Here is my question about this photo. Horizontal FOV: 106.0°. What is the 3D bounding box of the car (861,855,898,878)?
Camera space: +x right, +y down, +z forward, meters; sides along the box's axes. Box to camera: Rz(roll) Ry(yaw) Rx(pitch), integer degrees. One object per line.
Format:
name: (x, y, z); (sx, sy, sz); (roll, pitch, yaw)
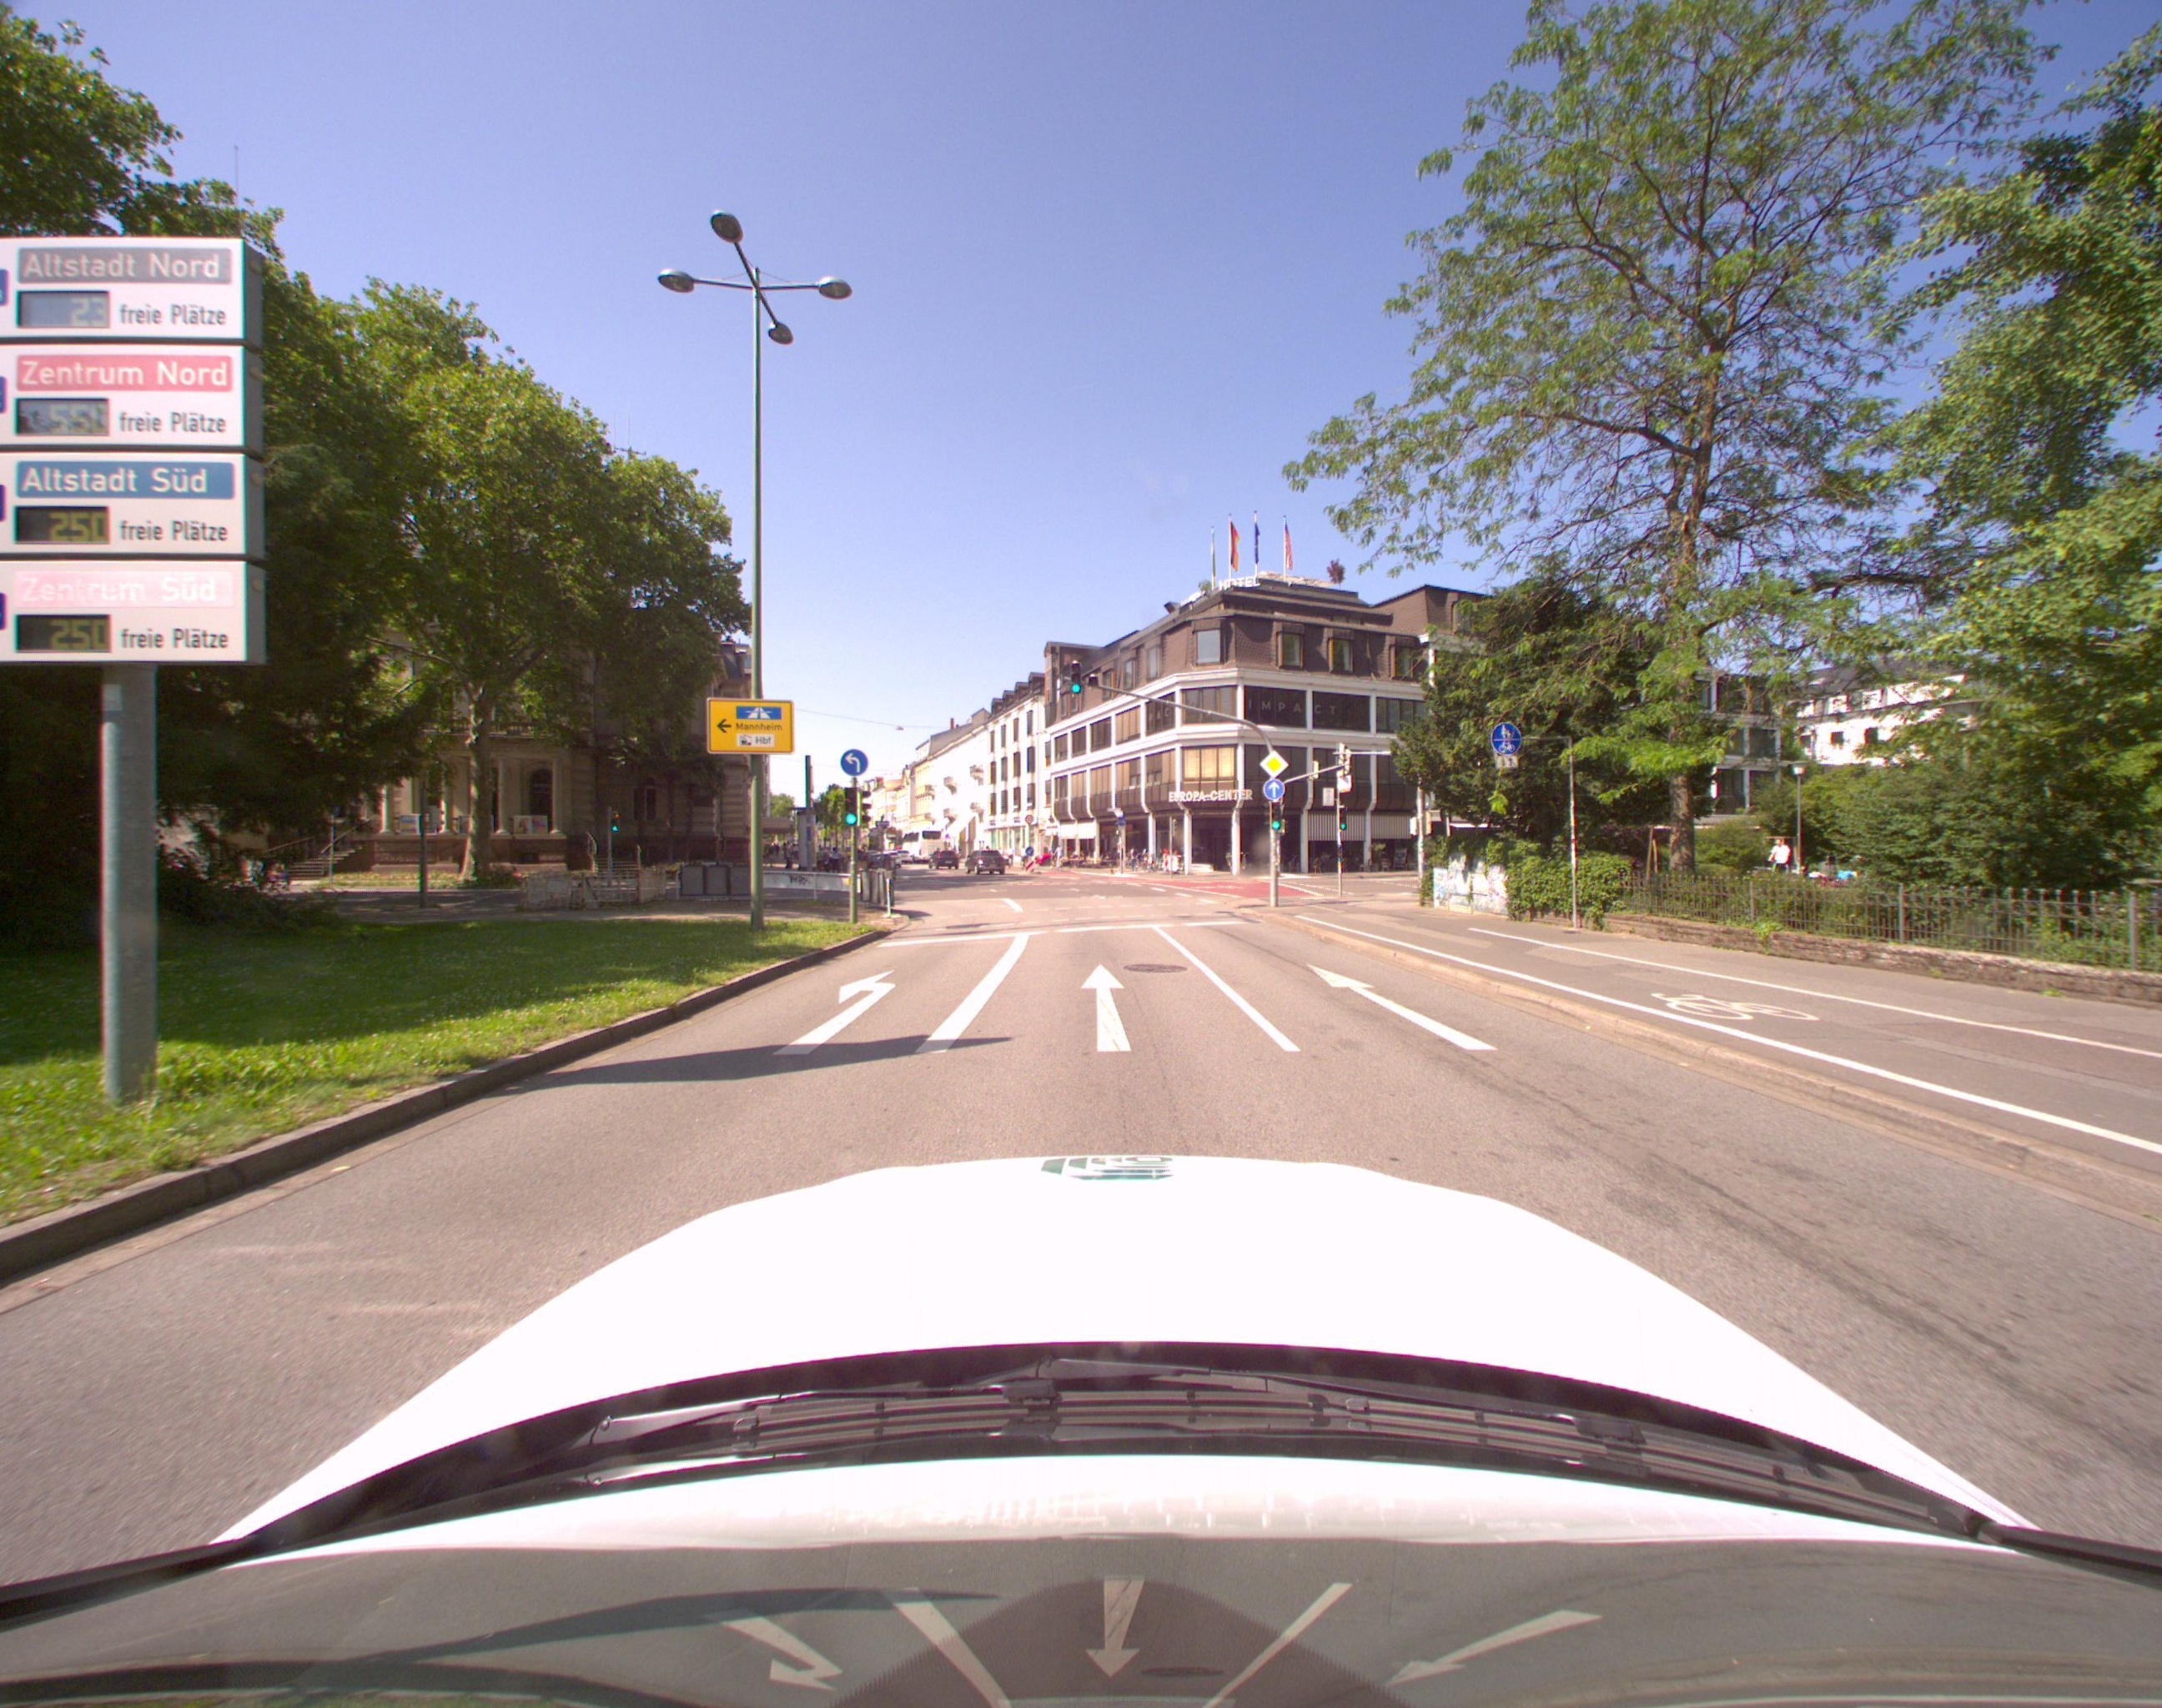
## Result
car: (-13.138, 0.795, 52.998); (1.943, 1.354, 4.222); (-1, 1, -19)

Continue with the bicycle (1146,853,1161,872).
bicycle: (4.547, 0.504, 51.112); (0.277, 1.120, 2.233); (-1, 1, -13)

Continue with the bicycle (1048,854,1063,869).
bicycle: (-1.868, 0.520, 59.210); (0.621, 1.099, 2.340); (0, 0, -15)

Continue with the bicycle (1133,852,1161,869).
bicycle: (4.446, 0.427, 54.668); (2.252, 1.097, 0.275); (-1, 1, -35)

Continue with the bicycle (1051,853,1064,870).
bicycle: (-1.617, 0.530, 56.278); (0.595, 1.120, 1.793); (-1, 1, -13)

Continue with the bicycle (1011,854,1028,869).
bicycle: (-4.673, 0.555, 62.072); (0.623, 1.099, 2.335); (0, 0, -22)

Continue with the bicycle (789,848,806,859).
bicycle: (-37.554, -0.061, 107.998); (2.077, 1.288, 0.364); (2, -1, -28)

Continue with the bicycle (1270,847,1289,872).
bicycle: (11.655, 0.304, 47.833); (0.524, 1.422, 1.980); (0, 2, 31)

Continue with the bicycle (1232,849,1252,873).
bicycle: (9.246, 0.406, 46.661); (0.524, 1.316, 1.871); (0, 2, 31)

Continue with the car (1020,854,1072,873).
car: (-2.976, 0.777, 69.219); (4.058, 1.495, 1.829); (-1, -2, -20)

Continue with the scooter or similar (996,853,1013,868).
scooter or similar: (-6.131, 0.499, 65.391); (0.966, 1.135, 1.574); (0, 0, -24)

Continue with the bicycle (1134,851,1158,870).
bicycle: (4.270, 0.434, 53.229); (1.548, 1.207, 0.276); (0, 0, -15)

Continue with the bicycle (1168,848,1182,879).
bicycle: (5.612, 0.563, 48.431); (0.373, 1.484, 1.061); (-2, -39, 22)

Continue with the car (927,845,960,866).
car: (-10.734, 0.141, 63.529); (1.839, 1.527, 3.973); (-2, 0, -19)

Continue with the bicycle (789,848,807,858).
bicycle: (-38.025, -0.098, 109.360); (2.081, 1.219, 0.752); (2, -1, -37)

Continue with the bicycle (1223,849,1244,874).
bicycle: (8.768, 0.420, 46.872); (0.524, 1.316, 1.980); (0, 2, 31)

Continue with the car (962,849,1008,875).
car: (-5.993, 0.500, 50.452); (1.841, 1.527, 3.970); (0, 0, -23)

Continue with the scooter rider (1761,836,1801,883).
scooter rider: (25.660, 0.204, 29.868); (0.708, 1.672, 0.820); (-1, -1, -14)

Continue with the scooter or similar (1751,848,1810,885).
scooter or similar: (25.631, 0.450, 29.847); (1.693, 1.298, 0.817); (-1, -1, -15)

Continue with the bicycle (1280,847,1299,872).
bicycle: (12.172, 0.302, 47.552); (0.524, 1.422, 1.980); (0, 2, 31)

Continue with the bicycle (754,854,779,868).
bicycle: (-24.841, 0.535, 64.268); (2.004, 1.062, 0.493); (0, 0, 18)

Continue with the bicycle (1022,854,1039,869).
bicycle: (-4.030, 0.580, 64.385); (0.623, 1.099, 2.335); (0, 0, -22)

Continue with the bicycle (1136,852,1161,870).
bicycle: (4.393, 0.433, 52.884); (1.573, 1.120, 0.276); (-2, 1, -15)

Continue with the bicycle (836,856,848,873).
bicycle: (-15.566, 0.684, 53.035); (0.429, 1.120, 2.235); (1, -2, -10)

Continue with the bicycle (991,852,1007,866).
bicycle: (-6.787, 0.415, 67.321); (0.623, 1.099, 2.335); (0, 0, -22)

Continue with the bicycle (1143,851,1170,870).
bicycle: (4.869, 0.416, 52.507); (1.719, 1.120, 0.276); (-2, 1, -15)

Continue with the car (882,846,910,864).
car: (-15.964, 0.040, 70.092); (1.869, 1.441, 3.973); (0, 1, -21)

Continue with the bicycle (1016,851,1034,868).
bicycle: (-4.055, 0.406, 59.120); (0.667, 1.120, 2.228); (1, 1, -20)

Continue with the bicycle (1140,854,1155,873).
bicycle: (4.172, 0.598, 50.993); (0.277, 1.120, 2.233); (-1, 1, -13)

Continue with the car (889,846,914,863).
car: (-18.069, 0.089, 81.694); (1.840, 1.527, 3.971); (-2, 0, -21)

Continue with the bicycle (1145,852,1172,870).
bicycle: (4.968, 0.432, 52.125); (1.719, 1.120, 0.276); (-2, 1, -15)
